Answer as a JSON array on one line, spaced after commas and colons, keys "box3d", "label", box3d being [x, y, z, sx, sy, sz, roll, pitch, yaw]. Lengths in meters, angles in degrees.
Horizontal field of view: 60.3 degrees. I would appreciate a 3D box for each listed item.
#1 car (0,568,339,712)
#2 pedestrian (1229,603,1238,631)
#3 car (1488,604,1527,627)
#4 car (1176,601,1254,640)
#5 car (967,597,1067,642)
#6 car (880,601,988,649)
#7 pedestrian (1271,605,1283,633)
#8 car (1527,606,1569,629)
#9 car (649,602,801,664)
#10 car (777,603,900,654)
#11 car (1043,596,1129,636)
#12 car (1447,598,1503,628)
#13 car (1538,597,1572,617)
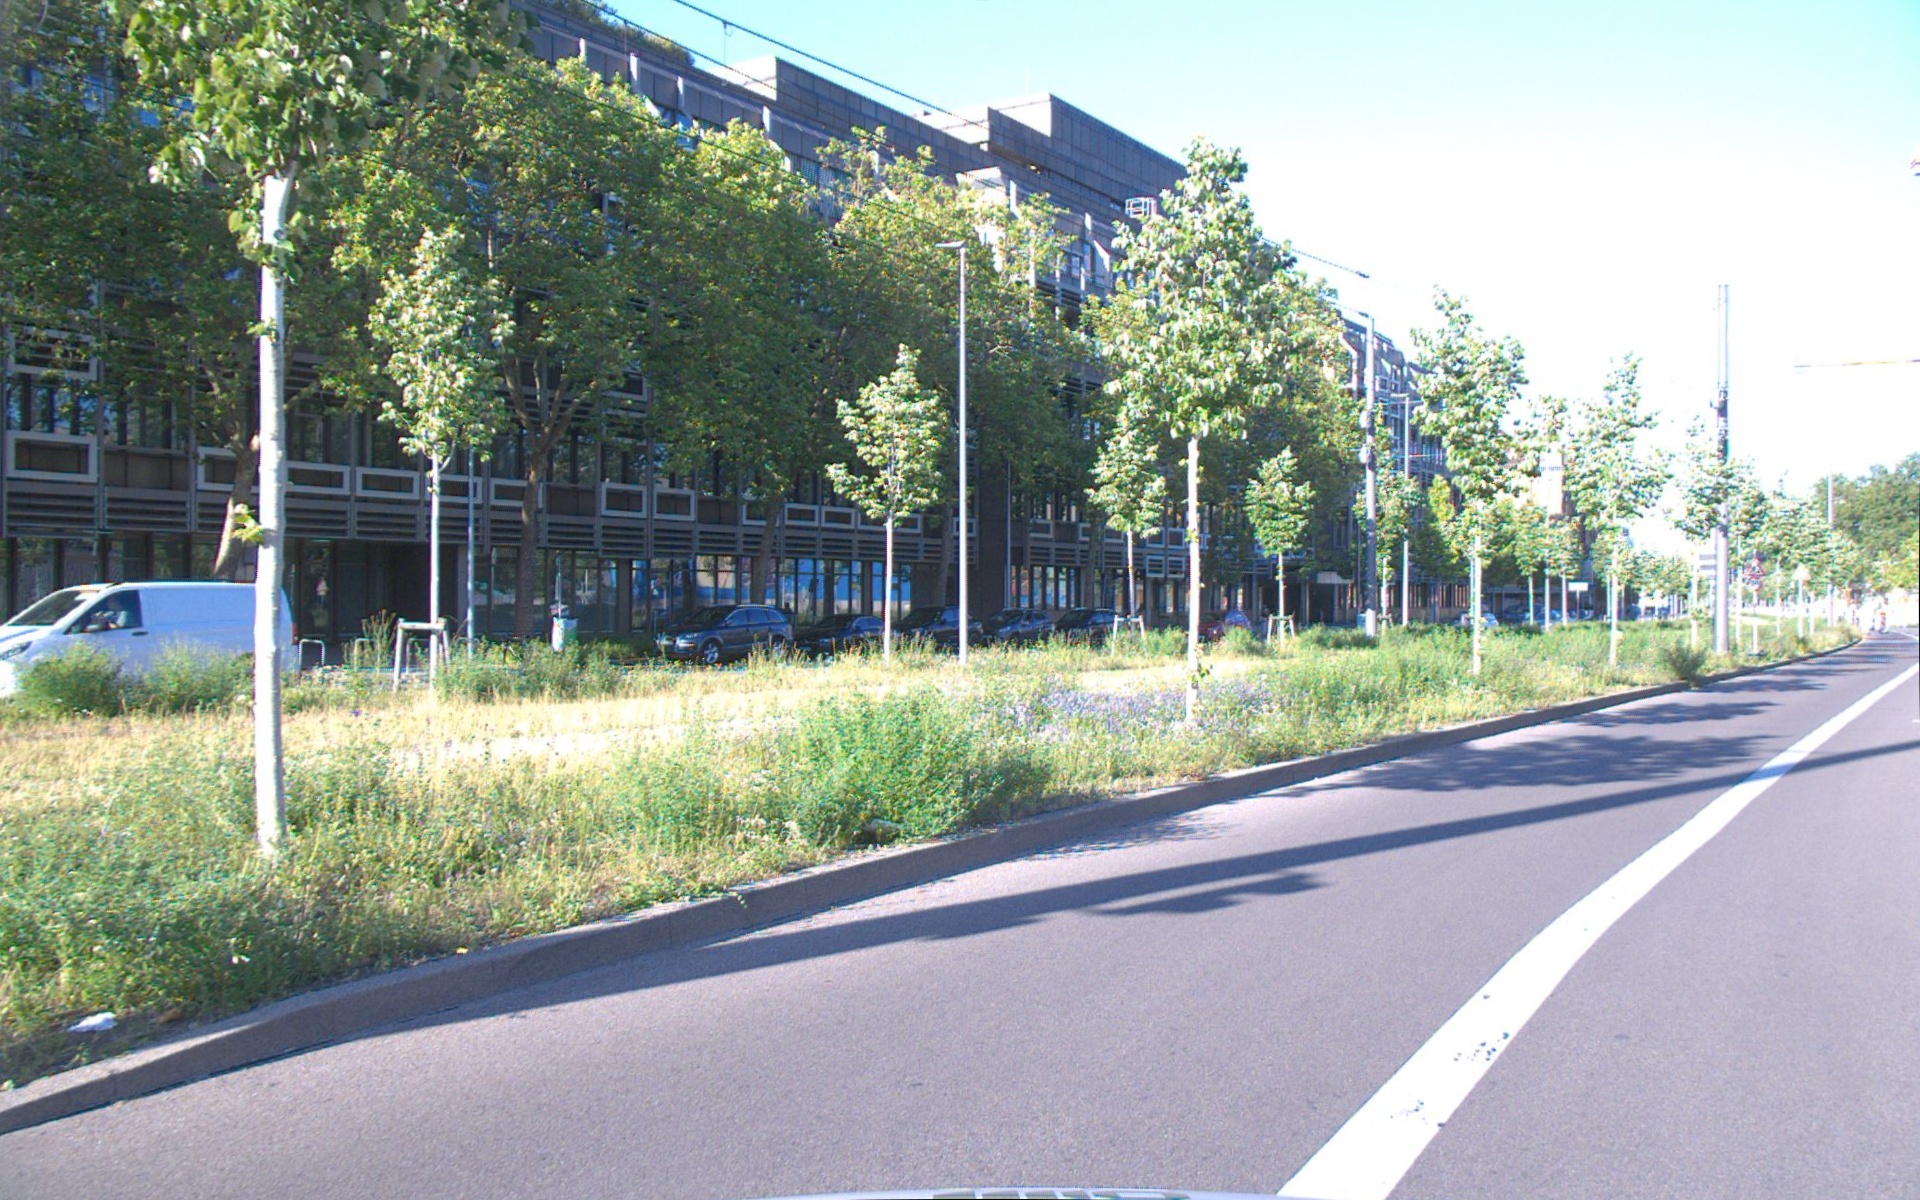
[{"box3d": [-13.110, 0.599, 26.437, 2.220, 2.049, 5.688, -2, -1, 36], "label": "car"}, {"box3d": [15.556, 0.942, 94.074, 0.401, 1.589, 0.446, 0, 0, 33], "label": "pedestrian"}, {"box3d": [40.408, 1.120, 121.998, 1.868, 1.603, 4.292, 0, 0, 30], "label": "car"}, {"box3d": [10.615, 0.836, 68.695, 1.682, 1.478, 3.561, -3, -2, 37], "label": "car"}, {"box3d": [2.280, 0.743, 65.171, 1.877, 1.661, 4.348, -2, -1, 34], "label": "car"}, {"box3d": [-0.898, 0.868, 59.626, 1.712, 1.584, 4.613, 2, 1, 31], "label": "car"}, {"box3d": [17.775, 1.063, 92.741, 0.649, 1.559, 0.650, 0, 0, 9], "label": "pedestrian"}, {"box3d": [39.537, 1.167, 111.168, 1.726, 1.542, 4.570, -1, -1, 32], "label": "car"}, {"box3d": [-7.035, 0.952, 50.017, 1.956, 1.709, 4.859, 1, 0, 30], "label": "car"}, {"box3d": [-3.974, 0.910, 54.651, 1.960, 1.547, 3.985, 1, 1, 35], "label": "car"}, {"box3d": [5.340, 0.654, 69.621, 1.827, 1.624, 4.265, -1, -1, 33], "label": "car"}, {"box3d": [28.910, 0.731, 92.746, 1.807, 1.622, 4.680, 1, 0, 32], "label": "car"}, {"box3d": [48.904, 0.566, 135.853, 1.868, 1.603, 4.292, 0, 0, 30], "label": "car"}]
